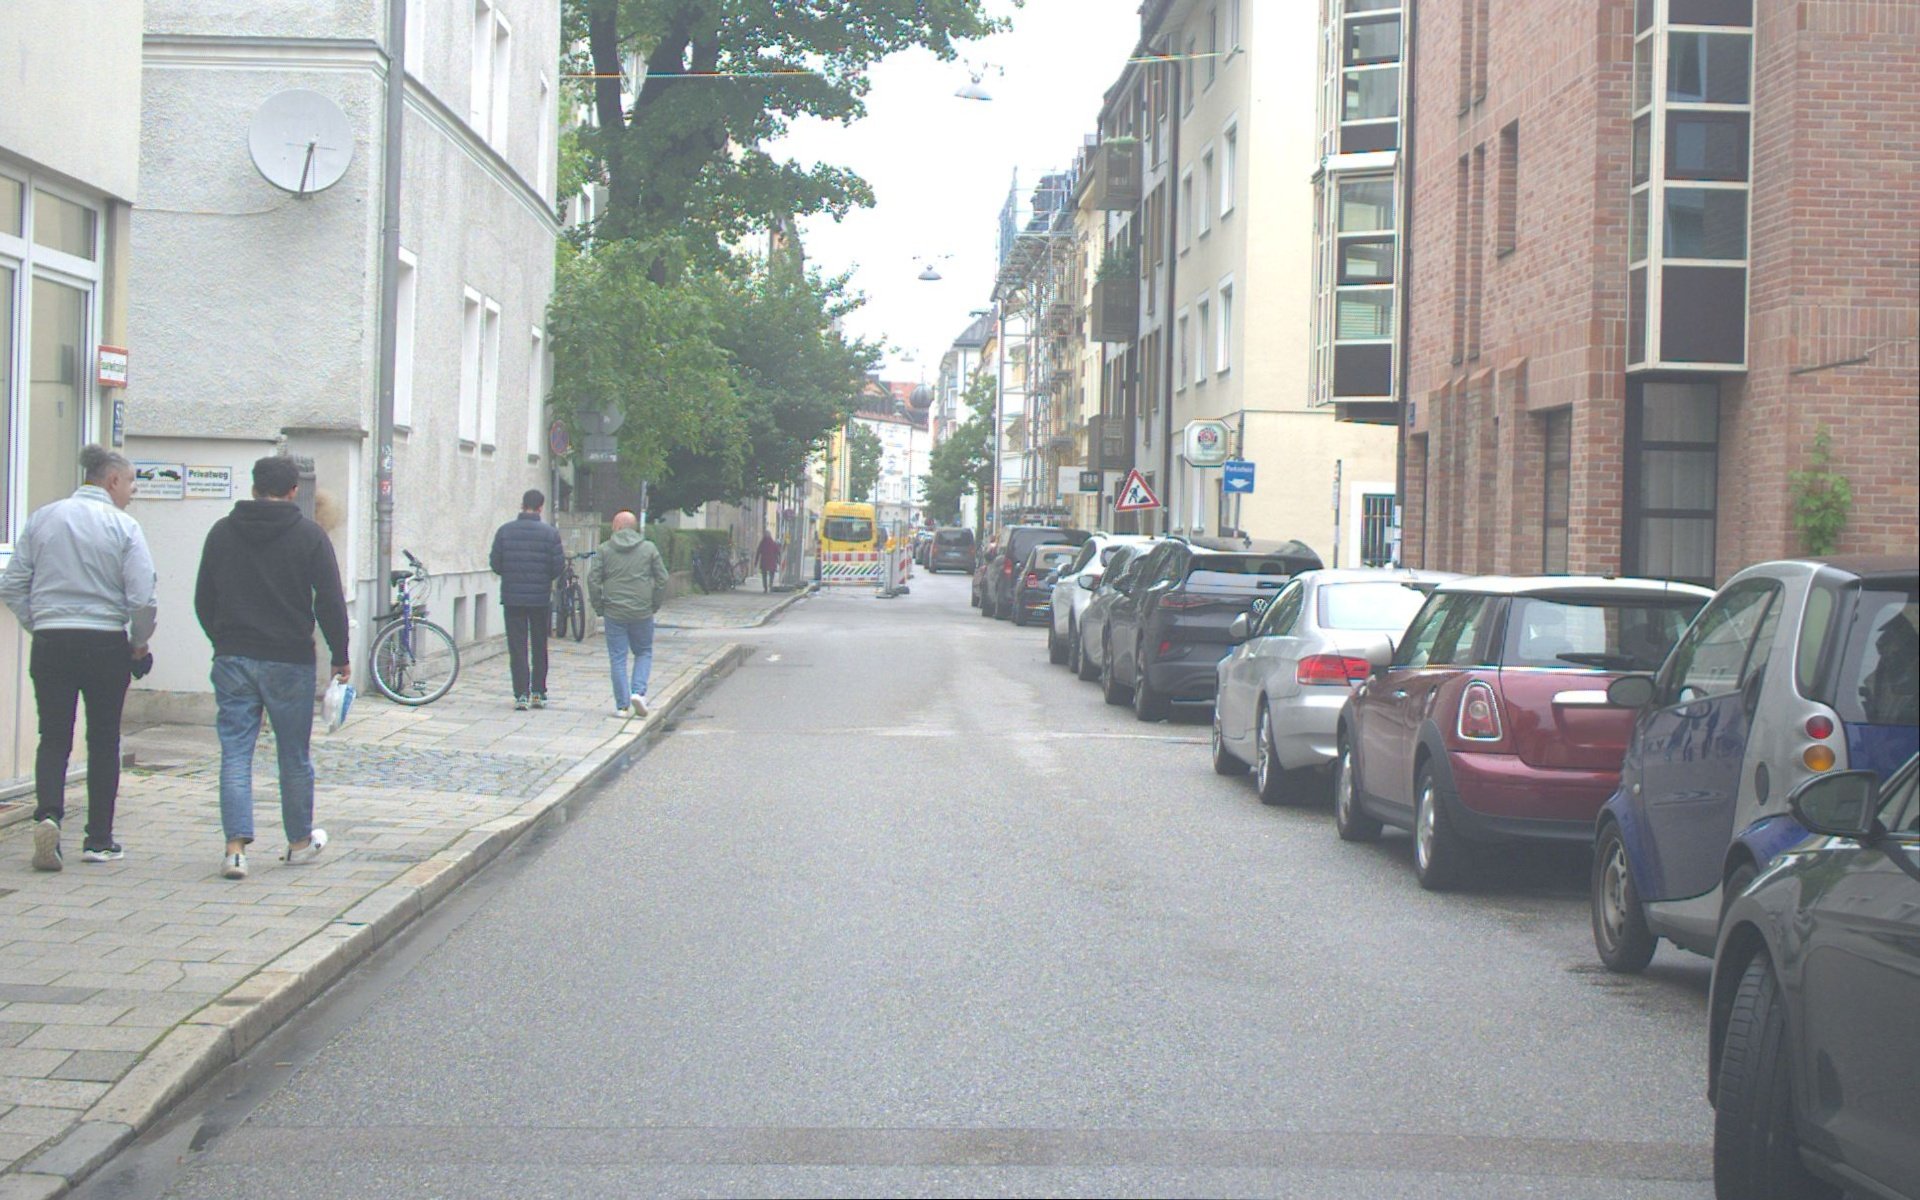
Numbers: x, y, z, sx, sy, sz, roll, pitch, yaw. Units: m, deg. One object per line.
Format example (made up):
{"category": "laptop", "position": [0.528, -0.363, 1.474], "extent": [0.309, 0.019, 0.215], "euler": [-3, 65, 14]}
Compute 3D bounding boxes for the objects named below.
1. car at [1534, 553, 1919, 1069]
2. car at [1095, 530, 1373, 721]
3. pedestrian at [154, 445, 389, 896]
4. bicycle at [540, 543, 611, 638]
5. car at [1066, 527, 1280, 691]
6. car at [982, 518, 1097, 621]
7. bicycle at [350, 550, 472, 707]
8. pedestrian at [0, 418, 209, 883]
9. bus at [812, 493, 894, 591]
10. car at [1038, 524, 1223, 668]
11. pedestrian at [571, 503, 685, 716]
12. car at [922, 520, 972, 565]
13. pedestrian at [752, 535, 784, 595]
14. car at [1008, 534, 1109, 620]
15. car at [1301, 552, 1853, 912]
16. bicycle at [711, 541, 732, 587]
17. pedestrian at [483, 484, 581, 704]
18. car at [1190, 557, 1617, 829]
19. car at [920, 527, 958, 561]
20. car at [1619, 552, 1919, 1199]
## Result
{"category": "car", "position": [3.096, 0.626, 11.895], "extent": [1.521, 1.506, 3.203], "euler": [2, 1, -2]}
{"category": "car", "position": [2.397, 0.170, 31.199], "extent": [1.885, 1.550, 4.392], "euler": [2, 1, -3]}
{"category": "pedestrian", "position": [-2.808, 0.277, 14.086], "extent": [0.718, 1.759, 0.838], "euler": [3, 0, -1]}
{"category": "bicycle", "position": [-4.695, -0.128, 41.940], "extent": [0.473, 1.107, 1.761], "euler": [2, 1, -18]}
{"category": "car", "position": [2.188, 0.064, 36.321], "extent": [1.721, 1.630, 3.882], "euler": [1, 1, -4]}
{"category": "car", "position": [1.528, -0.632, 67.672], "extent": [1.801, 1.814, 4.001], "euler": [5, 1, -3]}
{"category": "bicycle", "position": [-4.375, 0.209, 27.335], "extent": [0.641, 1.213, 1.665], "euler": [0, 1, -20]}
{"category": "pedestrian", "position": [-3.543, 0.191, 13.947], "extent": [0.718, 1.790, 0.917], "euler": [3, 0, -1]}
{"category": "bus", "position": [-3.485, -1.894, 113.349], "extent": [2.592, 3.091, 6.306], "euler": [1, 1, -1]}
{"category": "car", "position": [2.004, -0.091, 41.507], "extent": [1.748, 1.624, 4.197], "euler": [1, 1, -4]}
{"category": "pedestrian", "position": [-2.671, 0.070, 27.746], "extent": [0.753, 1.653, 0.906], "euler": [3, 0, -1]}
{"category": "car", "position": [-0.560, -2.446, 145.200], "extent": [1.801, 1.706, 3.827], "euler": [5, 1, -3]}
{"category": "pedestrian", "position": [-4.748, -0.864, 85.089], "extent": [0.756, 1.486, 0.831], "euler": [1, 1, -1]}
{"category": "car", "position": [1.789, -0.447, 63.317], "extent": [1.624, 1.482, 3.809], "euler": [2, 1, -1]}
{"category": "car", "position": [2.844, 0.539, 16.759], "extent": [1.745, 1.457, 4.151], "euler": [2, 1, -2]}
{"category": "bicycle", "position": [-5.643, -0.846, 81.346], "extent": [0.446, 1.069, 2.468], "euler": [1, 1, -3]}
{"category": "pedestrian", "position": [-3.433, -0.049, 27.622], "extent": [0.612, 1.707, 0.823], "euler": [3, 0, -2]}
{"category": "car", "position": [2.614, 0.488, 21.356], "extent": [1.836, 1.412, 4.601], "euler": [2, 1, -2]}
{"category": "car", "position": [-1.068, -2.839, 173.721], "extent": [1.801, 1.608, 4.000], "euler": [2, 1, -1]}
{"category": "car", "position": [2.653, 0.718, 6.355], "extent": [1.839, 1.523, 4.293], "euler": [2, 1, -2]}
